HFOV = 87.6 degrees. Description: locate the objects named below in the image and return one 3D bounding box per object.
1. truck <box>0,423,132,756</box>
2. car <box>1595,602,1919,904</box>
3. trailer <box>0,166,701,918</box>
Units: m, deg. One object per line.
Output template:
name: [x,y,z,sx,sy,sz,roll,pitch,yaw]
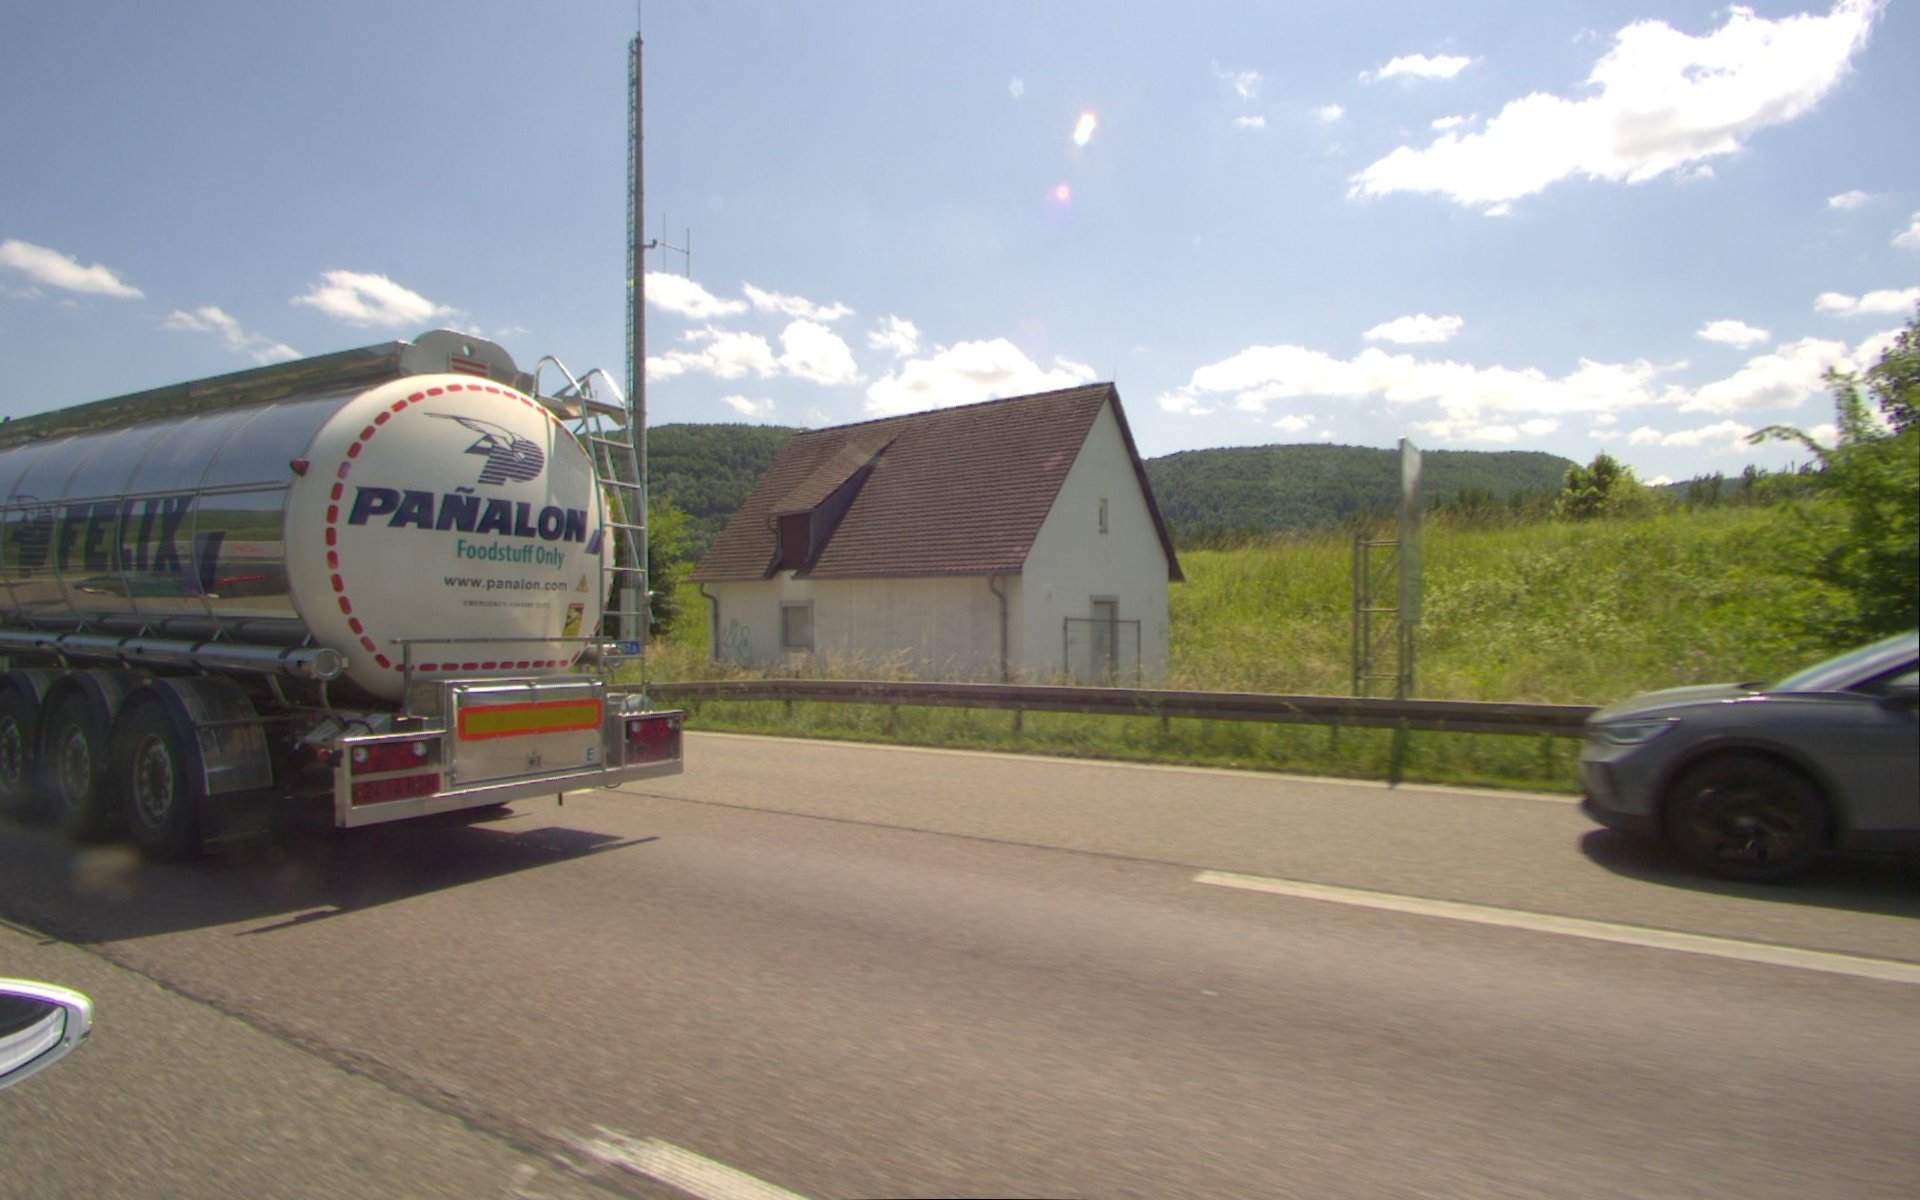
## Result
truck: [-13.165,-0.088,12.762,5.170,3.807,2.507,-1,-1,32]
car: [6.147,0.832,5.720,4.186,1.615,1.677,-1,-2,31]
trailer: [-7.492,-0.186,9.240,11.720,3.783,2.534,-1,-1,32]
